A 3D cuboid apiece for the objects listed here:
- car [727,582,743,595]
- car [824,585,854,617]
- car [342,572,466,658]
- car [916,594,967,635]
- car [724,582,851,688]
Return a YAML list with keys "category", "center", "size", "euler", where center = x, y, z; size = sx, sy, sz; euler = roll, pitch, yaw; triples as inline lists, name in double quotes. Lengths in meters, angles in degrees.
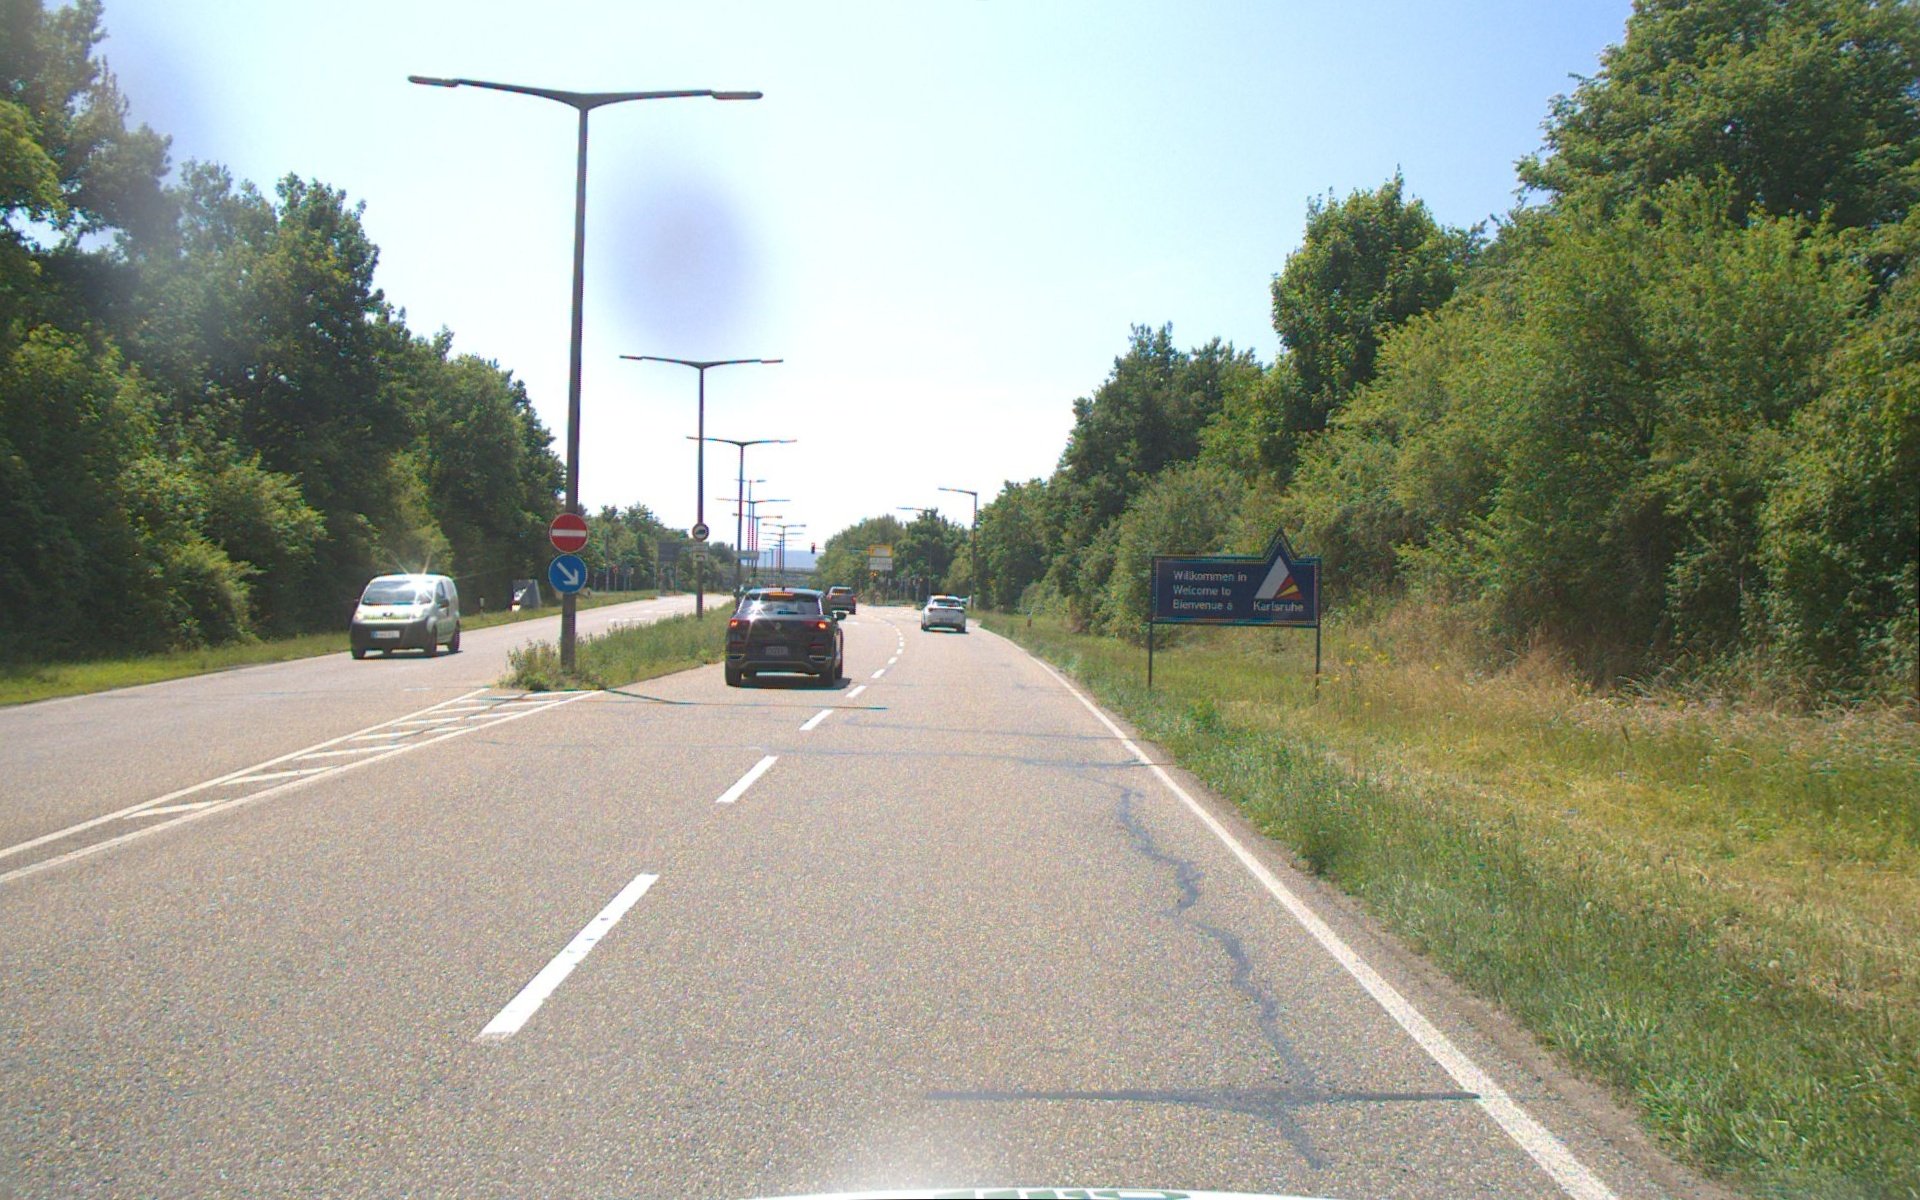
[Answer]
- category: "car"
  center: [-29.217, -1.451, 214.668]
  size: [1.792, 1.545, 3.997]
  euler: [2, 0, -4]
- category: "car"
  center: [-7.878, 0.061, 107.316]
  size: [1.721, 1.962, 3.995]
  euler: [2, 0, -6]
- category: "car"
  center: [-11.912, 0.285, 35.677]
  size: [1.699, 1.717, 4.089]
  euler: [-1, 1, -7]
- category: "car"
  center: [-0.804, 0.568, 68.596]
  size: [1.762, 1.611, 3.996]
  euler: [1, 0, -5]
- category: "car"
  center: [-2.800, 0.548, 27.637]
  size: [1.720, 1.583, 3.999]
  euler: [2, 0, -1]
